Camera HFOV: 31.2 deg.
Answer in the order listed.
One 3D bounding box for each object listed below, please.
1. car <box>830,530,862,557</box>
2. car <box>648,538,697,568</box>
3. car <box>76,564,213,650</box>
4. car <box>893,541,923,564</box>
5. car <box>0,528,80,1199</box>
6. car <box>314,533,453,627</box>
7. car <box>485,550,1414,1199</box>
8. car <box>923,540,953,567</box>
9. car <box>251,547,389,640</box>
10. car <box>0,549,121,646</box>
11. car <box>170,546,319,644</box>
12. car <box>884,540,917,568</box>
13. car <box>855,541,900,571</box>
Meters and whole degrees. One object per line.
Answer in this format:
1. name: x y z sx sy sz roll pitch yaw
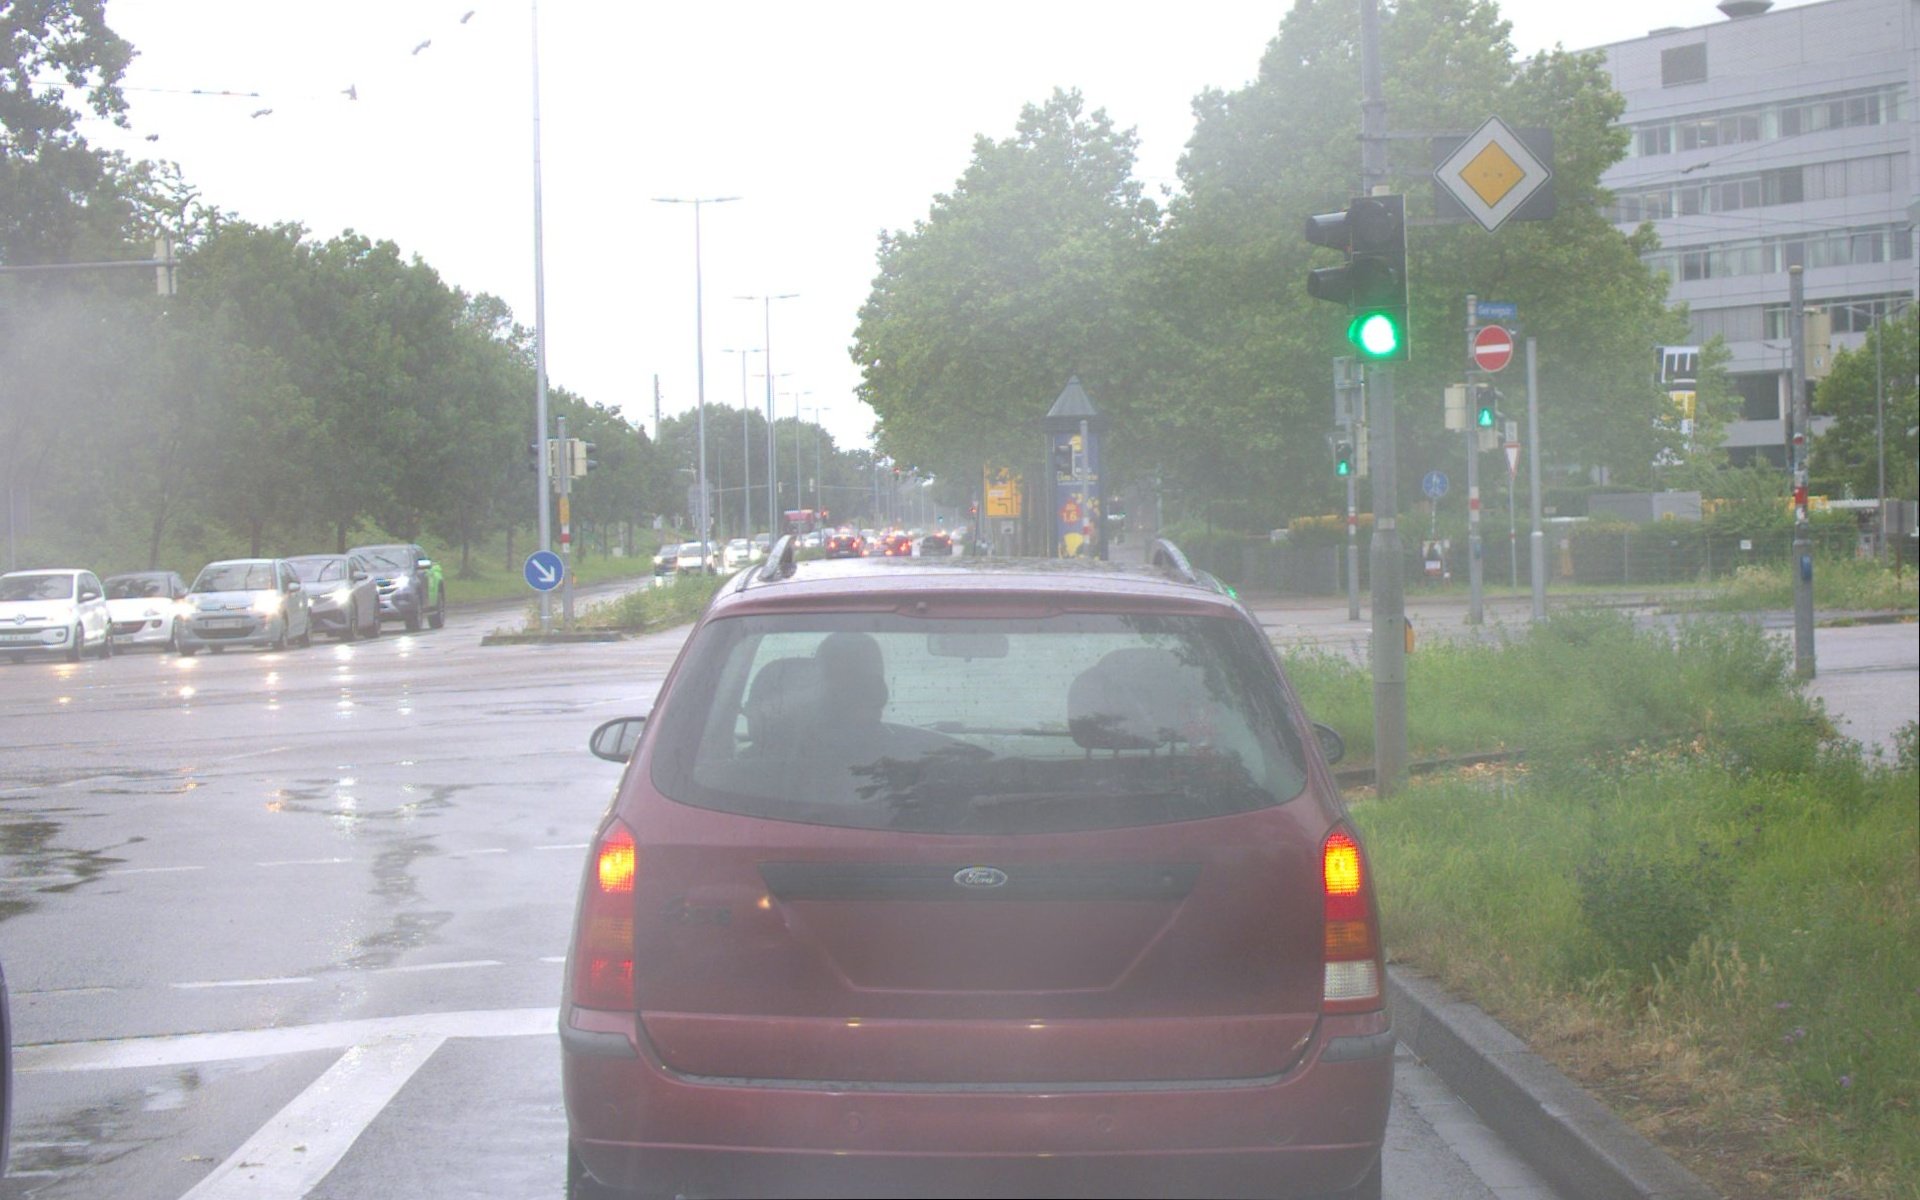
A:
1. car: -6.705 -3.312 202.499 1.698 1.522 3.846 -1 1 1
2. car: -15.248 -2.493 182.696 2.094 1.522 4.192 -1 1 2
3. car: -14.507 0.103 61.295 1.590 1.399 3.823 -2 1 -2
4. car: -3.488 -3.188 230.462 1.671 1.522 3.845 -1 1 4
5. car: -2.680 0.670 4.809 1.769 1.568 4.821 1 1 -2
6. car: -11.913 -0.446 71.394 2.065 1.813 5.542 -2 1 -2
7. car: -0.070 0.633 8.007 1.642 1.460 3.733 1 1 -2
8. car: -1.291 -2.798 205.680 1.671 1.522 3.846 -1 1 1
9. car: -11.714 -0.128 63.227 1.762 1.580 4.814 -2 0 -2
10. car: -14.630 -0.064 54.963 1.638 1.447 3.788 -2 1 -3
11. car: -11.631 -0.113 56.068 1.638 1.468 3.965 -2 1 -1
12. car: -3.359 -2.619 194.116 1.698 1.522 3.846 -1 1 1
13. car: -4.331 -2.340 181.266 2.147 1.522 4.192 -1 1 2
